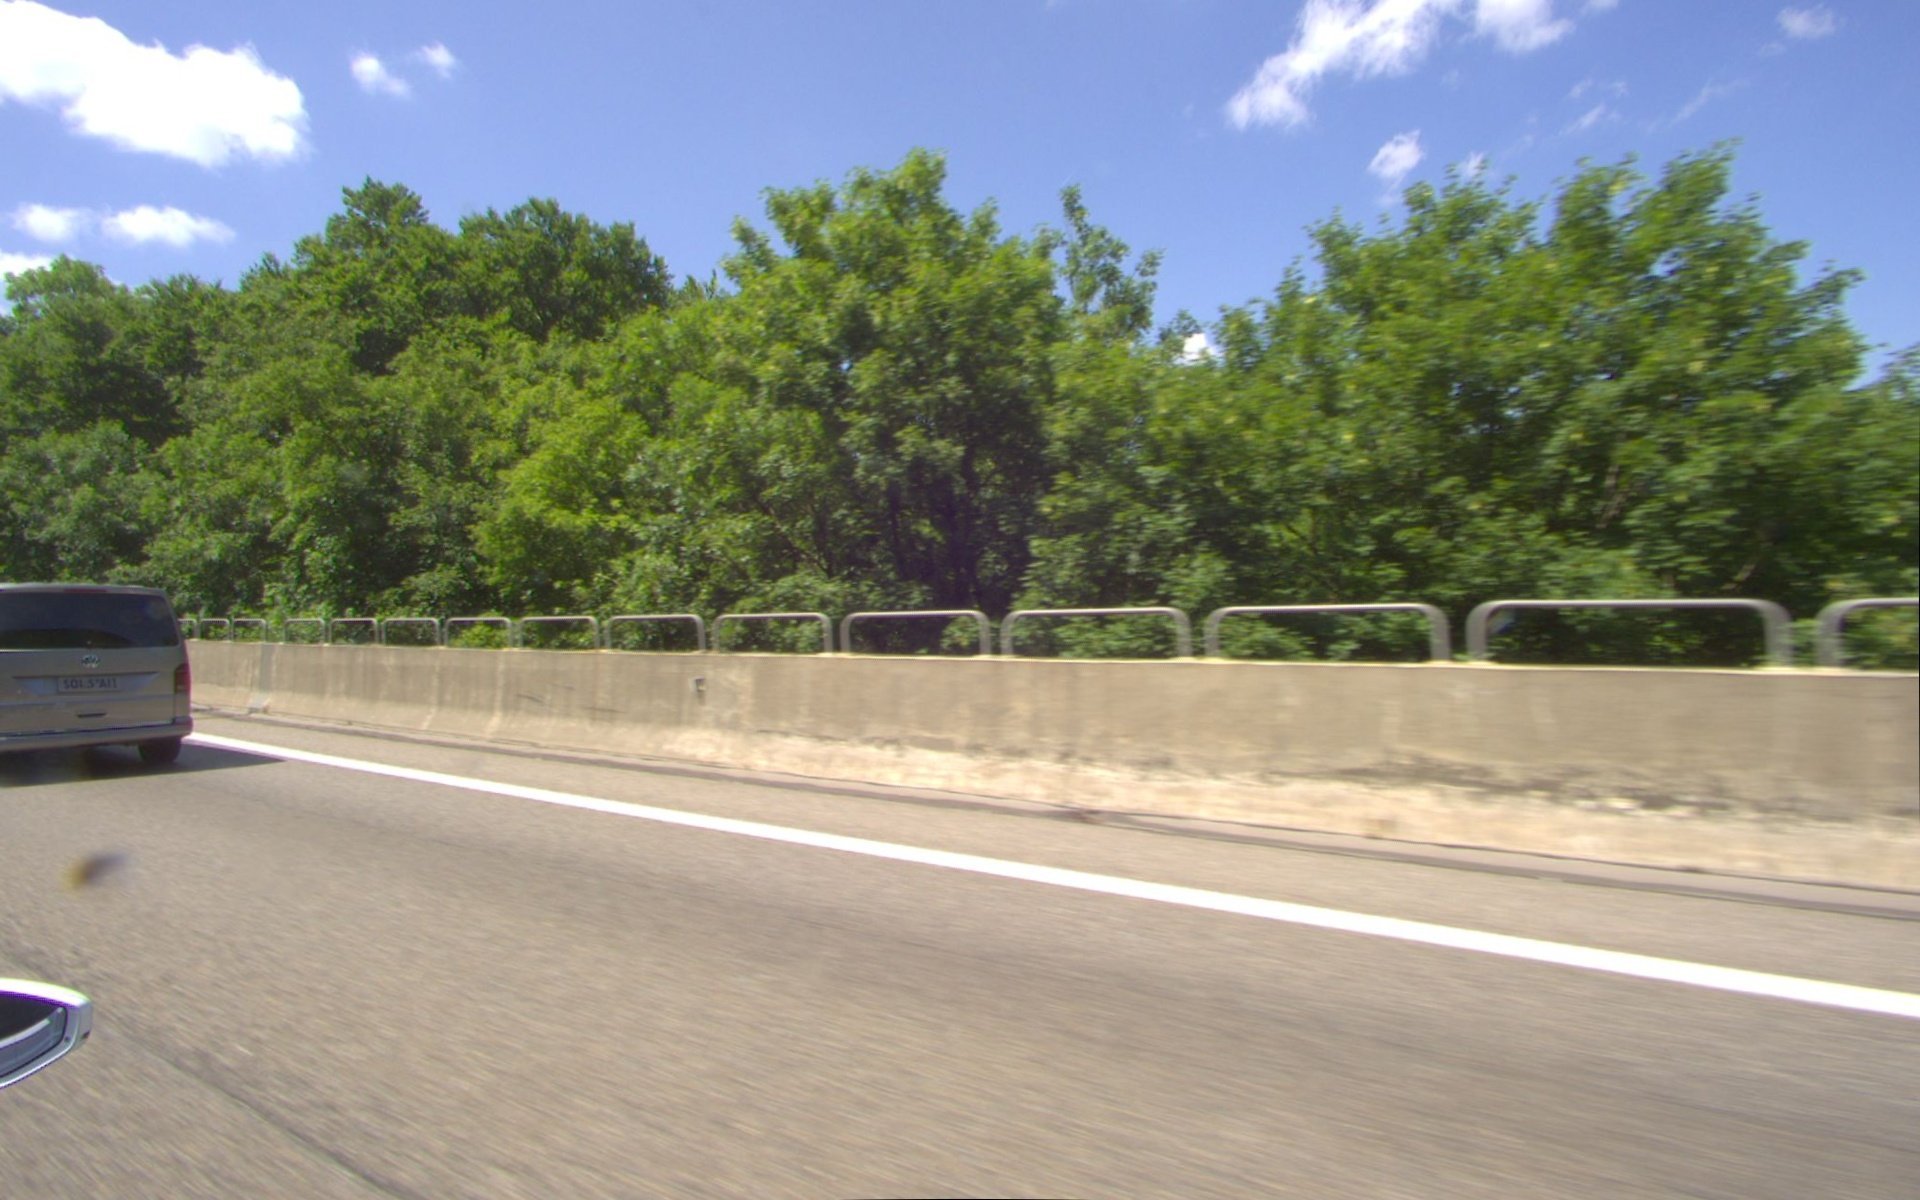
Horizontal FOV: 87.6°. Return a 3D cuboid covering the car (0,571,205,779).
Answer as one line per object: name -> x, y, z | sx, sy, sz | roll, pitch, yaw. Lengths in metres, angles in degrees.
car -> -10.521, 0.744, 11.310 | 4.633, 1.956, 1.934 | -1, -1, 36
